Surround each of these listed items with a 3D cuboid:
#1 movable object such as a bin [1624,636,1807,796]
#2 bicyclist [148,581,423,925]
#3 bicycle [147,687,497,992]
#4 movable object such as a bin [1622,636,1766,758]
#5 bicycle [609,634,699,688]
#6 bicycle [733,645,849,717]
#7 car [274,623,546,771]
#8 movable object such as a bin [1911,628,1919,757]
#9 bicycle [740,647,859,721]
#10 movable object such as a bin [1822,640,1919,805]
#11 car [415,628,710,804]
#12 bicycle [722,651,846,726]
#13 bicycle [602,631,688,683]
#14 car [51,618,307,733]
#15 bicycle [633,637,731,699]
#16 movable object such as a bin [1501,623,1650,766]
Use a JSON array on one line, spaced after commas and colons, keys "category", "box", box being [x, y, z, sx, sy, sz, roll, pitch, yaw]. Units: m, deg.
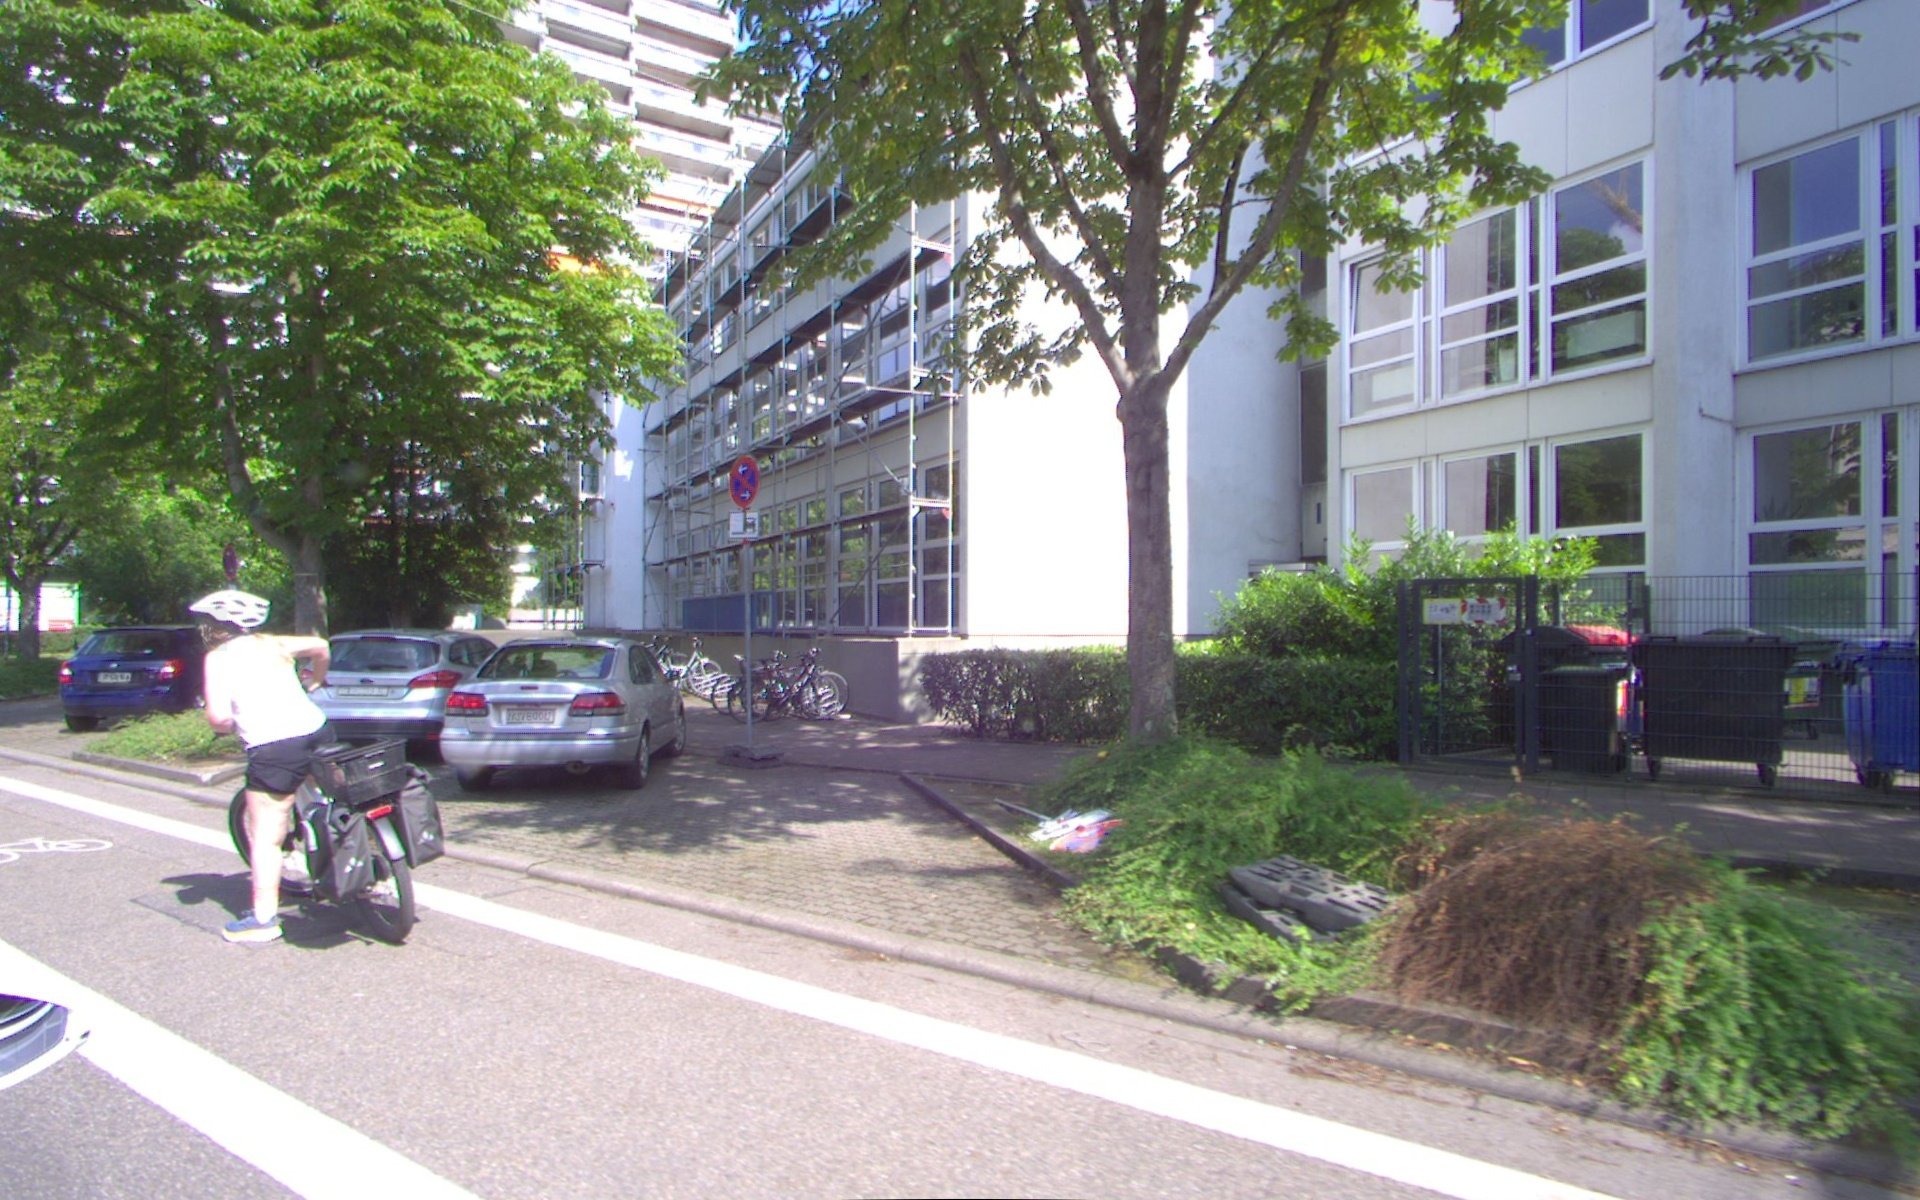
[{"category": "movable object such as a bin", "box": [6.988, 1.029, 9.373, 1.218, 1.352, 1.274, -1, -3, 31]}, {"category": "bicyclist", "box": [-3.512, 0.721, 5.220, 1.072, 1.548, 0.886, -1, -3, 39]}, {"category": "bicycle", "box": [-3.329, 1.073, 5.139, 2.110, 1.140, 0.871, 0, -2, 39]}, {"category": "movable object such as a bin", "box": [9.202, 1.168, 12.567, 1.201, 1.356, 1.252, -1, 1, -42]}, {"category": "bicycle", "box": [-6.593, 1.301, 21.592, 1.805, 1.110, 0.449, 1, 0, -27]}, {"category": "bicycle", "box": [-2.840, 1.348, 16.885, 1.873, 1.110, 0.449, 0, 1, -27]}, {"category": "car", "box": [-6.434, 1.076, 12.211, 1.621, 1.493, 3.805, 2, -2, -8]}, {"category": "movable object such as a bin", "box": [11.923, 1.062, 11.485, 1.362, 1.466, 1.254, -1, 1, -36]}, {"category": "bicycle", "box": [-2.623, 1.360, 16.435, 1.873, 1.110, 0.449, 0, 1, -27]}, {"category": "movable object such as a bin", "box": [8.454, 1.036, 8.624, 1.339, 1.352, 1.274, -1, -3, 31]}, {"category": "car", "box": [-3.862, 1.040, 10.540, 1.690, 1.438, 4.243, 1, -1, -5]}, {"category": "bicycle", "box": [-2.769, 1.381, 15.830, 1.873, 1.067, 0.449, 0, 1, -27]}, {"category": "bicycle", "box": [-7.121, 1.275, 22.656, 1.804, 1.110, 0.449, 0, 0, -27]}, {"category": "car", "box": [-12.019, 1.064, 15.762, 1.586, 1.505, 3.995, 0, 0, -13]}, {"category": "bicycle", "box": [-5.430, 1.306, 19.581, 1.804, 1.111, 0.449, 0, 3, -27]}, {"category": "movable object such as a bin", "box": [6.918, 1.026, 11.267, 1.250, 1.500, 0.932, 2, -1, -30]}]
